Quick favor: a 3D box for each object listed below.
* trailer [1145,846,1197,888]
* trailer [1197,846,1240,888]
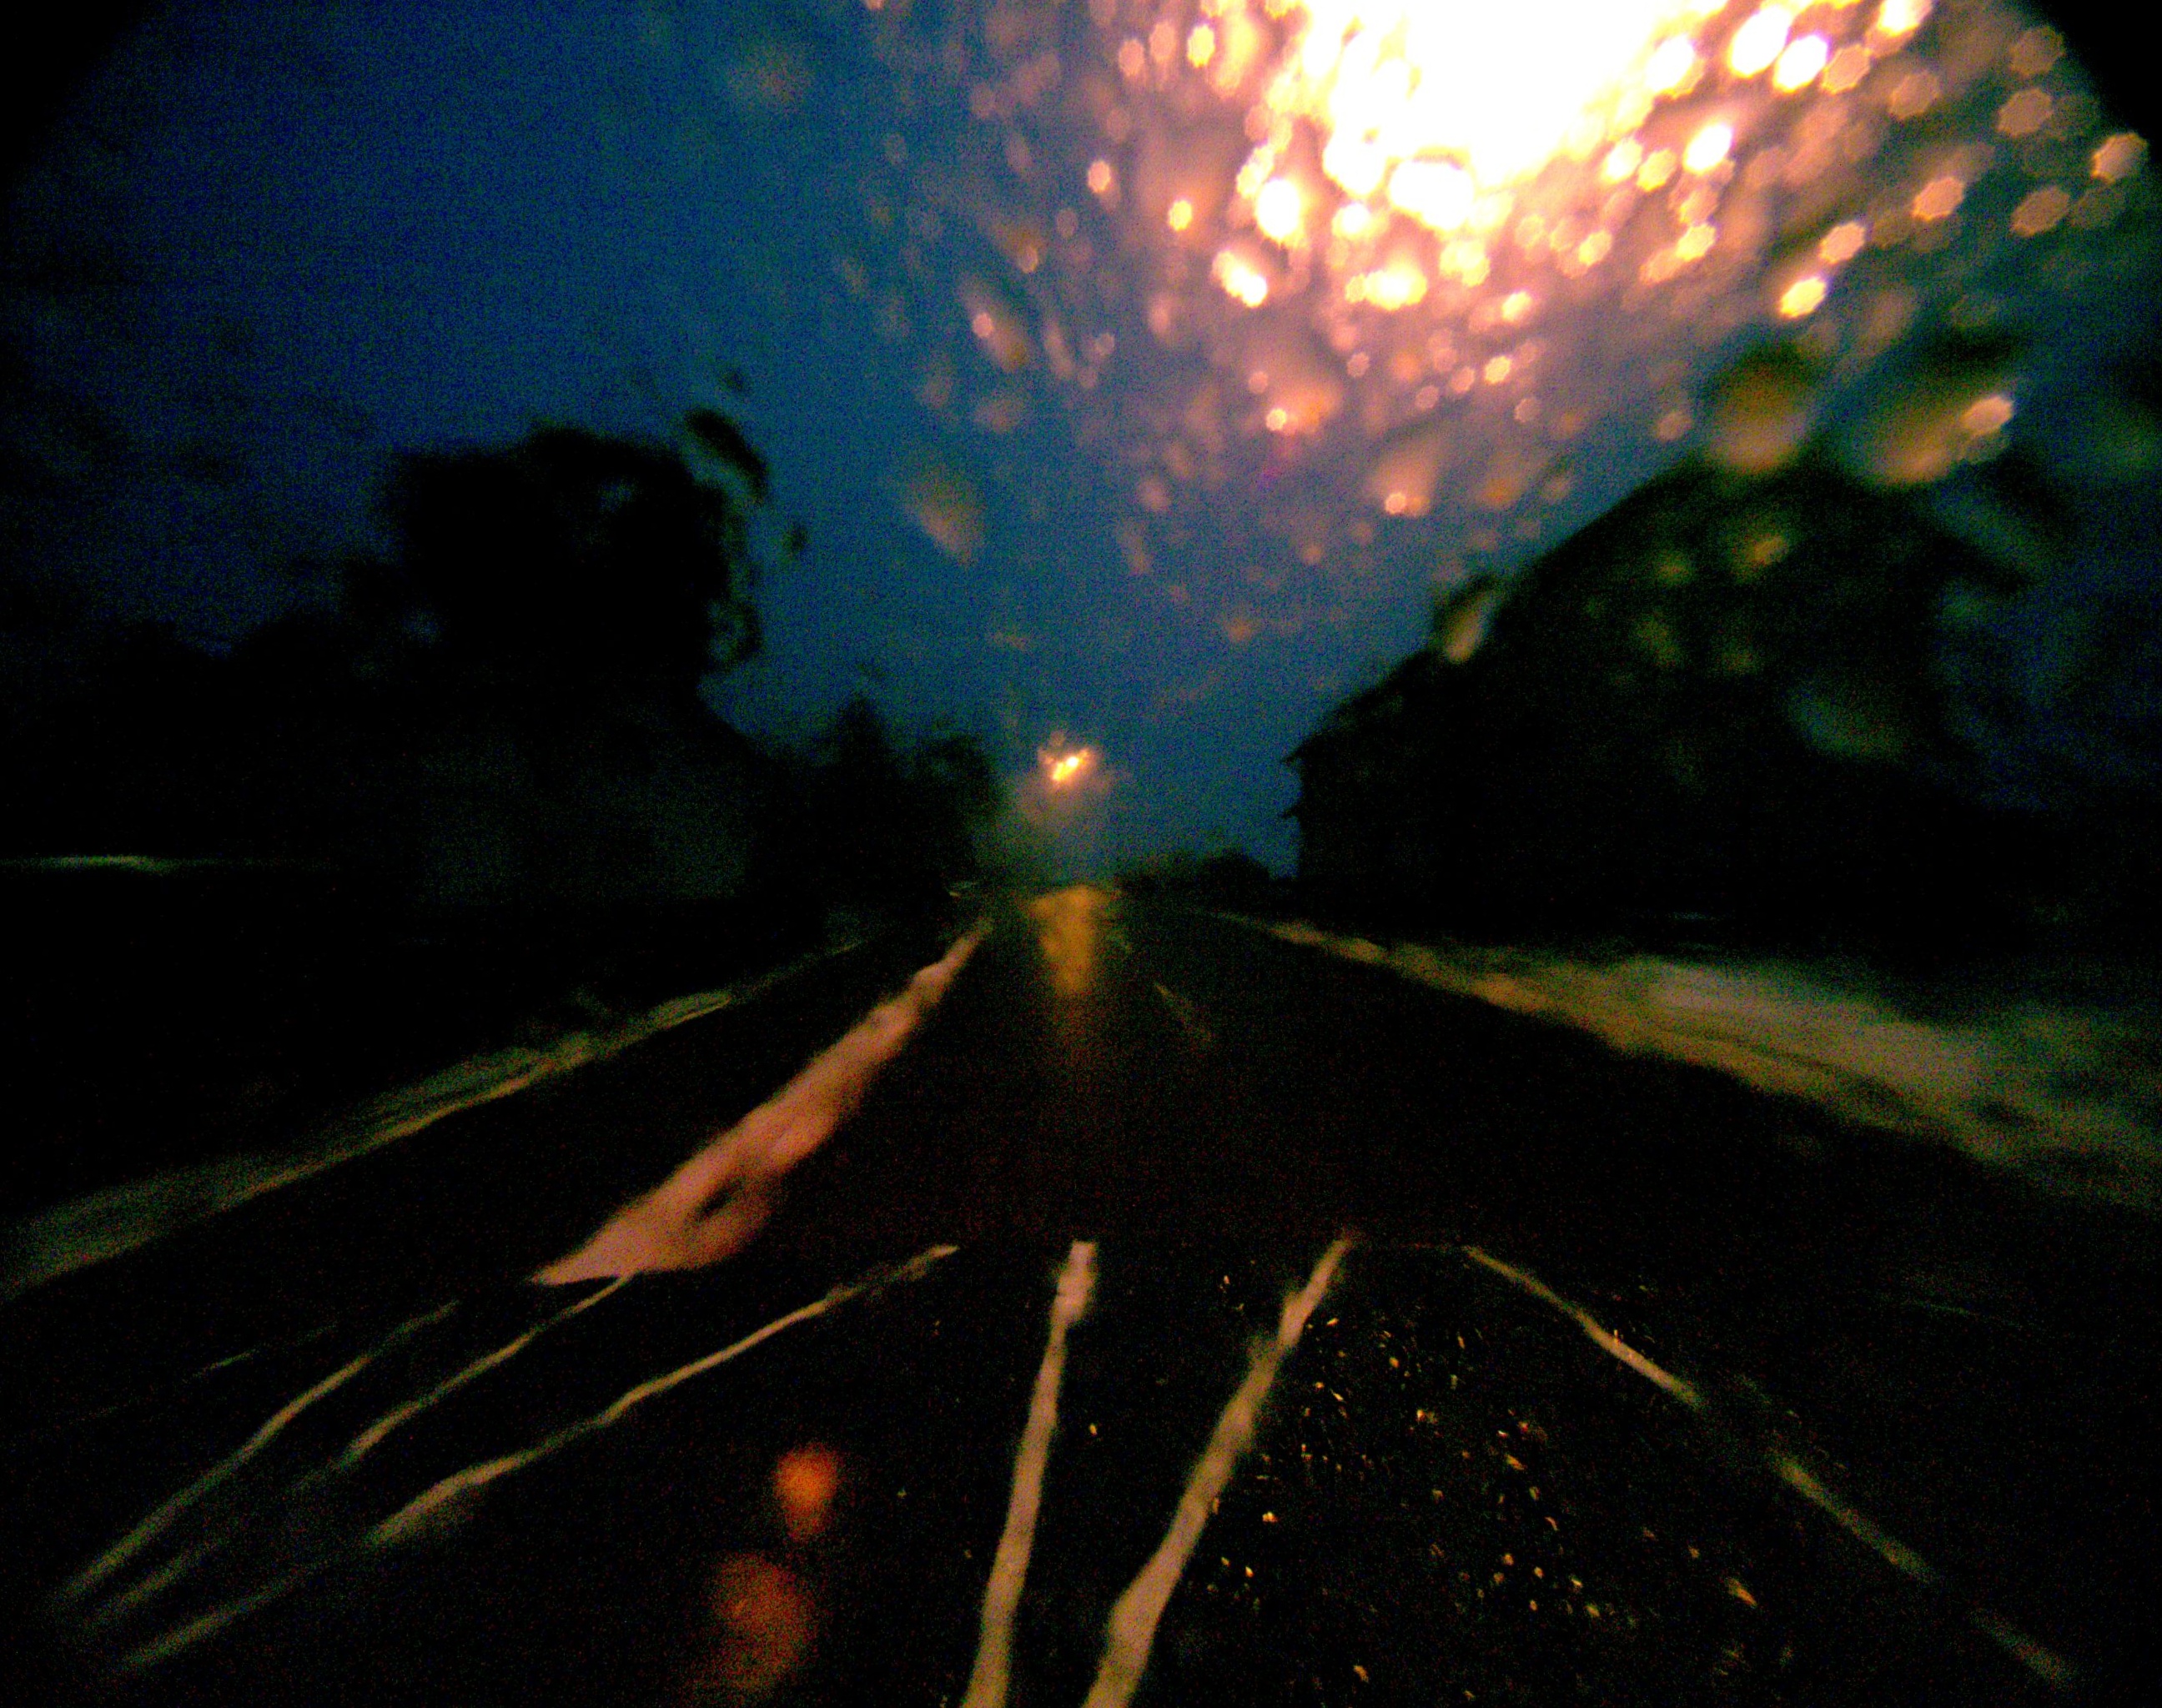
[{"bbox_3d":[5.901,0.898,49.925,1.698,2.589,3.438,4,-3,-26],"label":"trailer"},{"bbox_3d":[8.715,0.874,48.580,1.998,2.473,4.012,3,-2,1],"label":"trailer"}]
